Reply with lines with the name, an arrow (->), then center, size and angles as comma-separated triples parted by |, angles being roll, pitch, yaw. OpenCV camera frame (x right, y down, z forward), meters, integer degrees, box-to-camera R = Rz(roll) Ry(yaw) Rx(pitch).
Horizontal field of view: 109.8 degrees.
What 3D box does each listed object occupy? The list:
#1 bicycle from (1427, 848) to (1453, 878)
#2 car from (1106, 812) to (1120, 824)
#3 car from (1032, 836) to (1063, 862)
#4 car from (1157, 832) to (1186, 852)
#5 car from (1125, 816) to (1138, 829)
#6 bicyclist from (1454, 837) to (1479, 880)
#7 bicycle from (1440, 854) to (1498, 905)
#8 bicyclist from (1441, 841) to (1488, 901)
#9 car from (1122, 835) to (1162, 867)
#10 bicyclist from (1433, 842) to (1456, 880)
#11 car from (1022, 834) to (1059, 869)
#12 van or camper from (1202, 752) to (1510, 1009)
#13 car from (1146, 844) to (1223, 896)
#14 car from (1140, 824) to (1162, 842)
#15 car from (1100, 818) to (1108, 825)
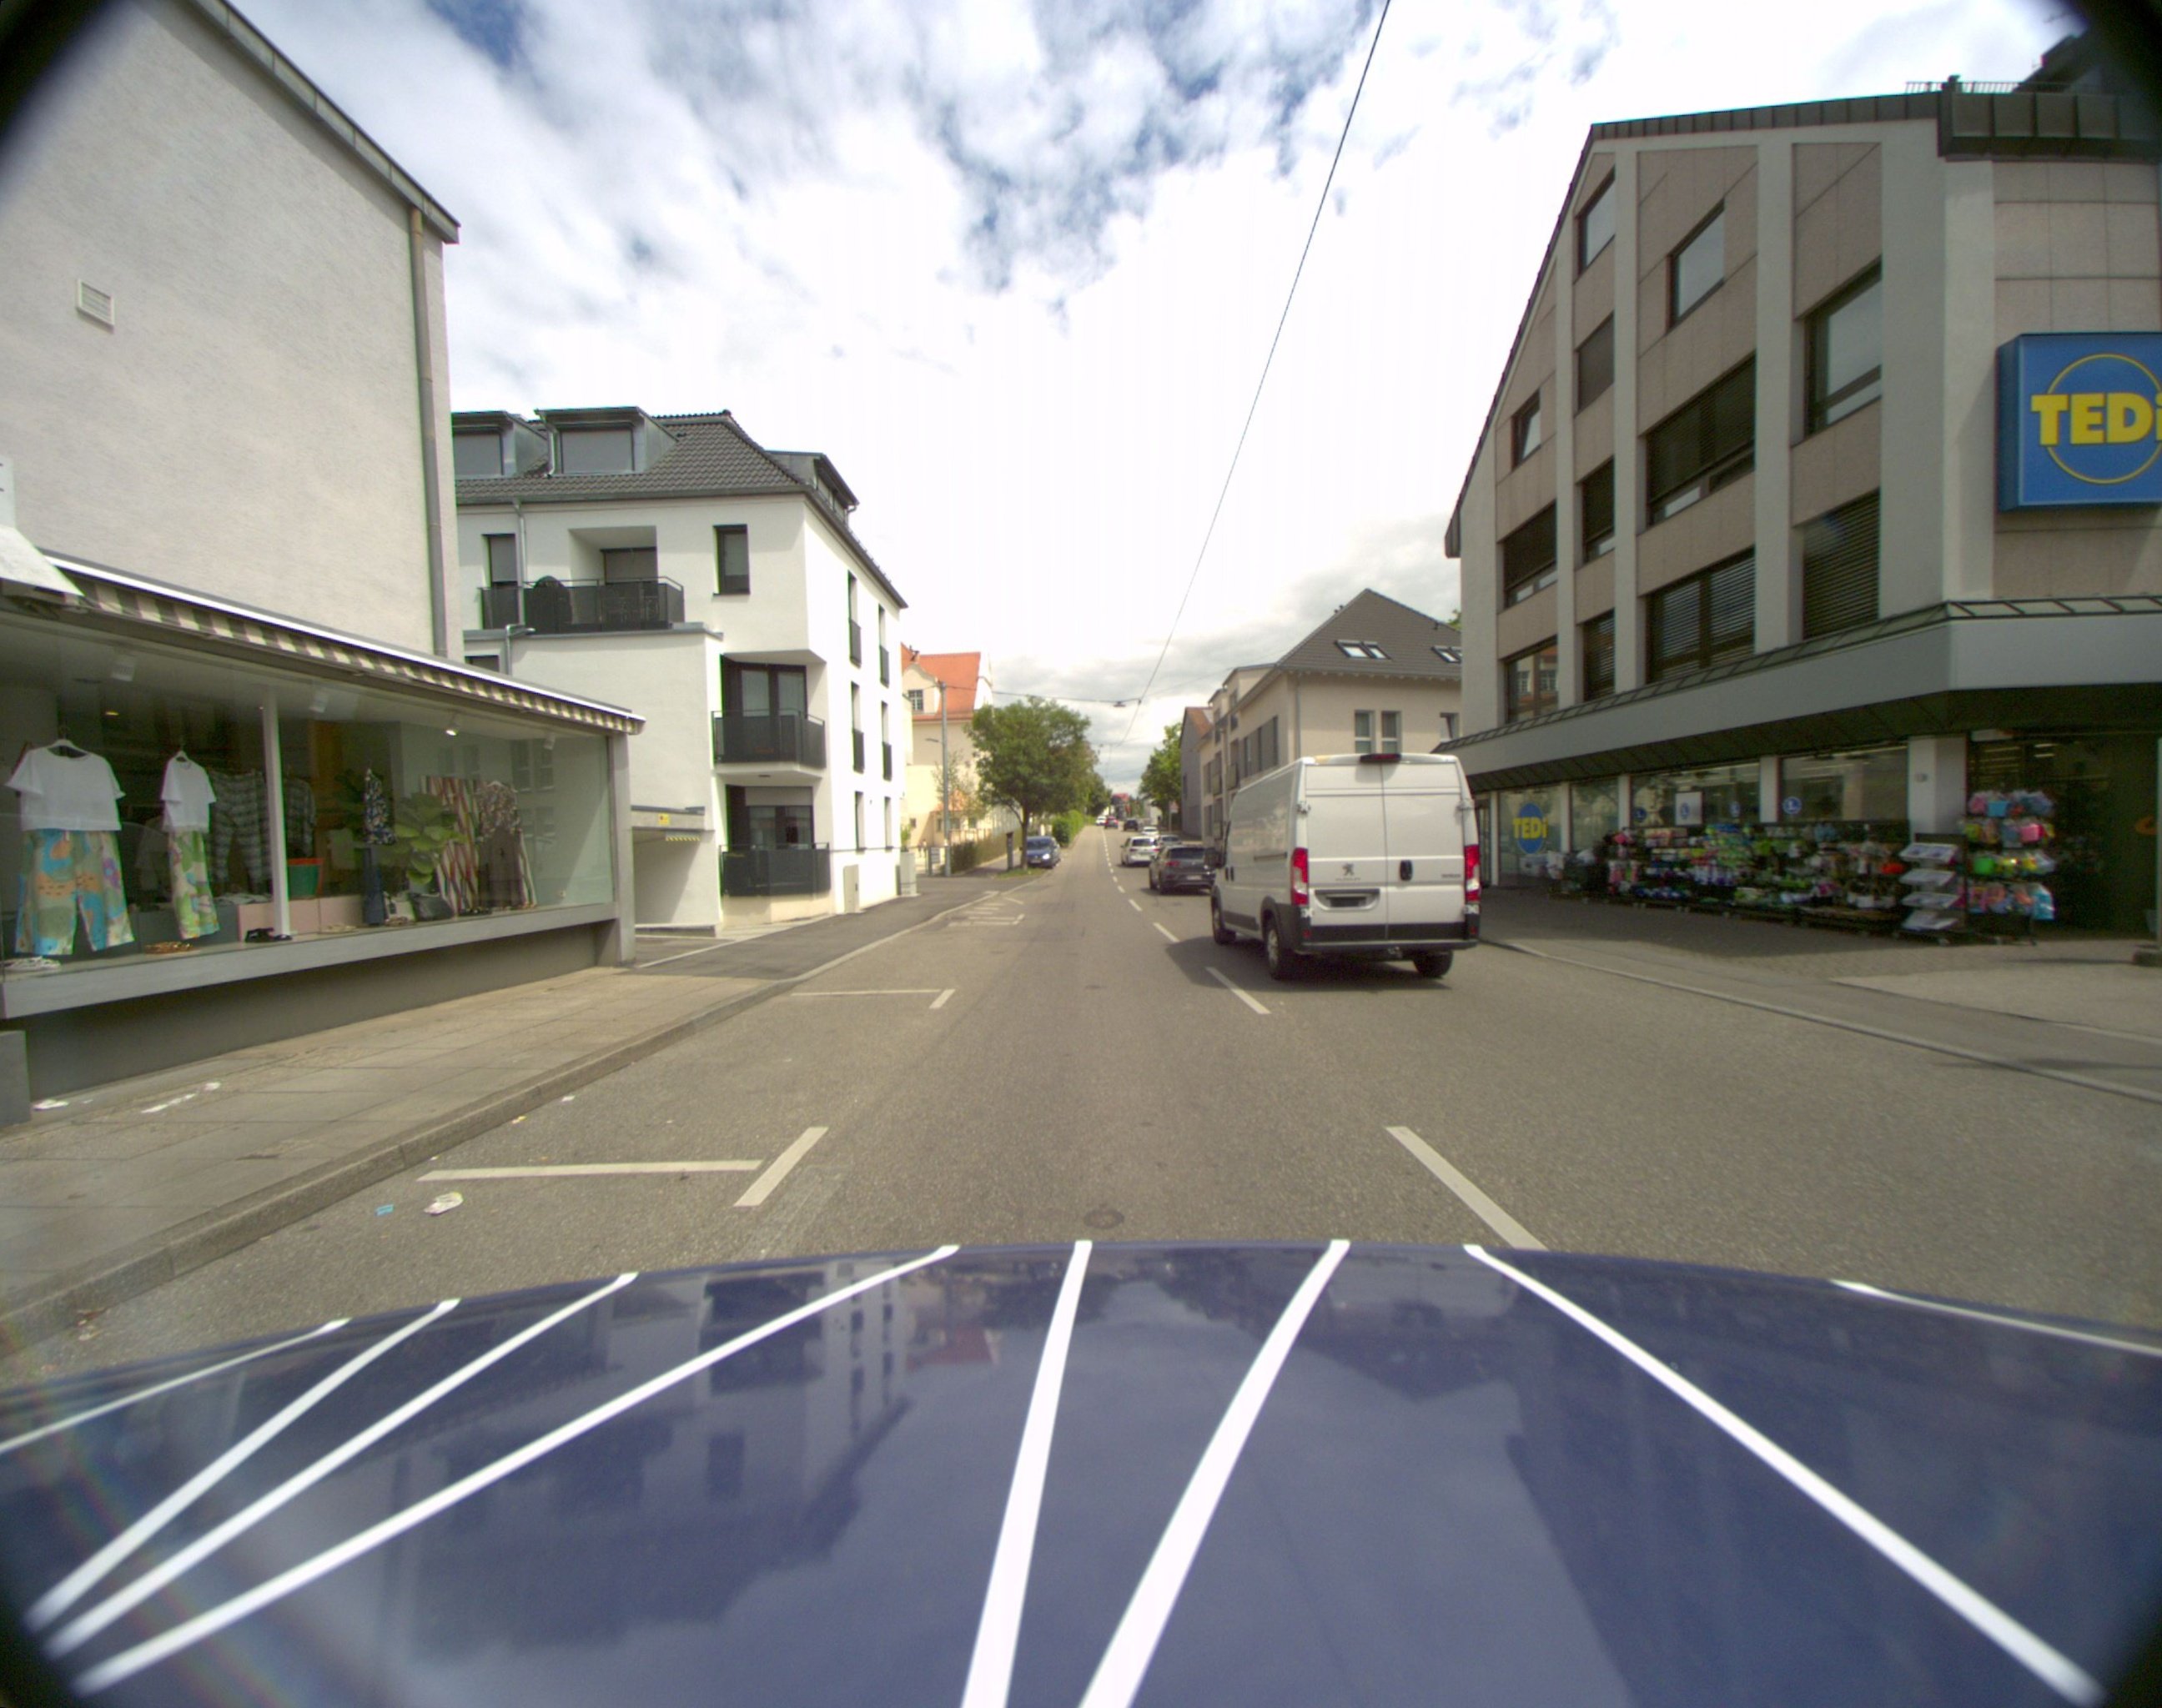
bicycle -> 12.012, 0.291, 25.405 | 0.458, 0.912, 1.592 | -1, 1, 37
car -> 4.785, -5.345, 113.950 | 1.946, 1.709, 4.595 | -1, 2, 0
car -> -2.068, -0.333, 48.052 | 1.677, 1.511, 3.668 | -1, 2, 1
car -> 6.268, -0.841, 52.753 | 1.665, 1.322, 3.473 | -1, 1, 1
car -> 6.878, -4.331, 103.723 | 1.672, 1.546, 3.963 | -1, 4, 1
bicyclist -> 12.288, 0.147, 24.215 | 0.587, 1.357, 0.425 | -2, 0, 43
bicycle -> 9.162, 0.584, 17.992 | 0.444, 1.044, 1.733 | -5, 2, 1
bicyclist -> 9.106, 0.393, 18.076 | 0.669, 1.330, 0.761 | -5, 3, 1
car -> 3.250, -0.213, 41.424 | 1.779, 1.604, 4.118 | 0, 2, -1
bicyclist -> 12.154, 0.229, 25.401 | 0.640, 1.235, 0.427 | 0, 4, 34
car -> -2.173, -0.193, 42.090 | 1.698, 1.734, 4.158 | -1, 2, 1
van or camper -> 3.190, 0.262, 10.317 | 2.154, 2.541, 5.437 | -1, 0, 0
car -> 3.204, 0.442, 24.260 | 1.796, 1.502, 3.843 | -1, 1, -2
car -> 6.445, -1.963, 70.627 | 1.737, 1.480, 4.064 | -1, 4, 1
car -> 4.394, -6.131, 145.628 | 1.298, 1.148, 2.983 | -3, 0, 1
